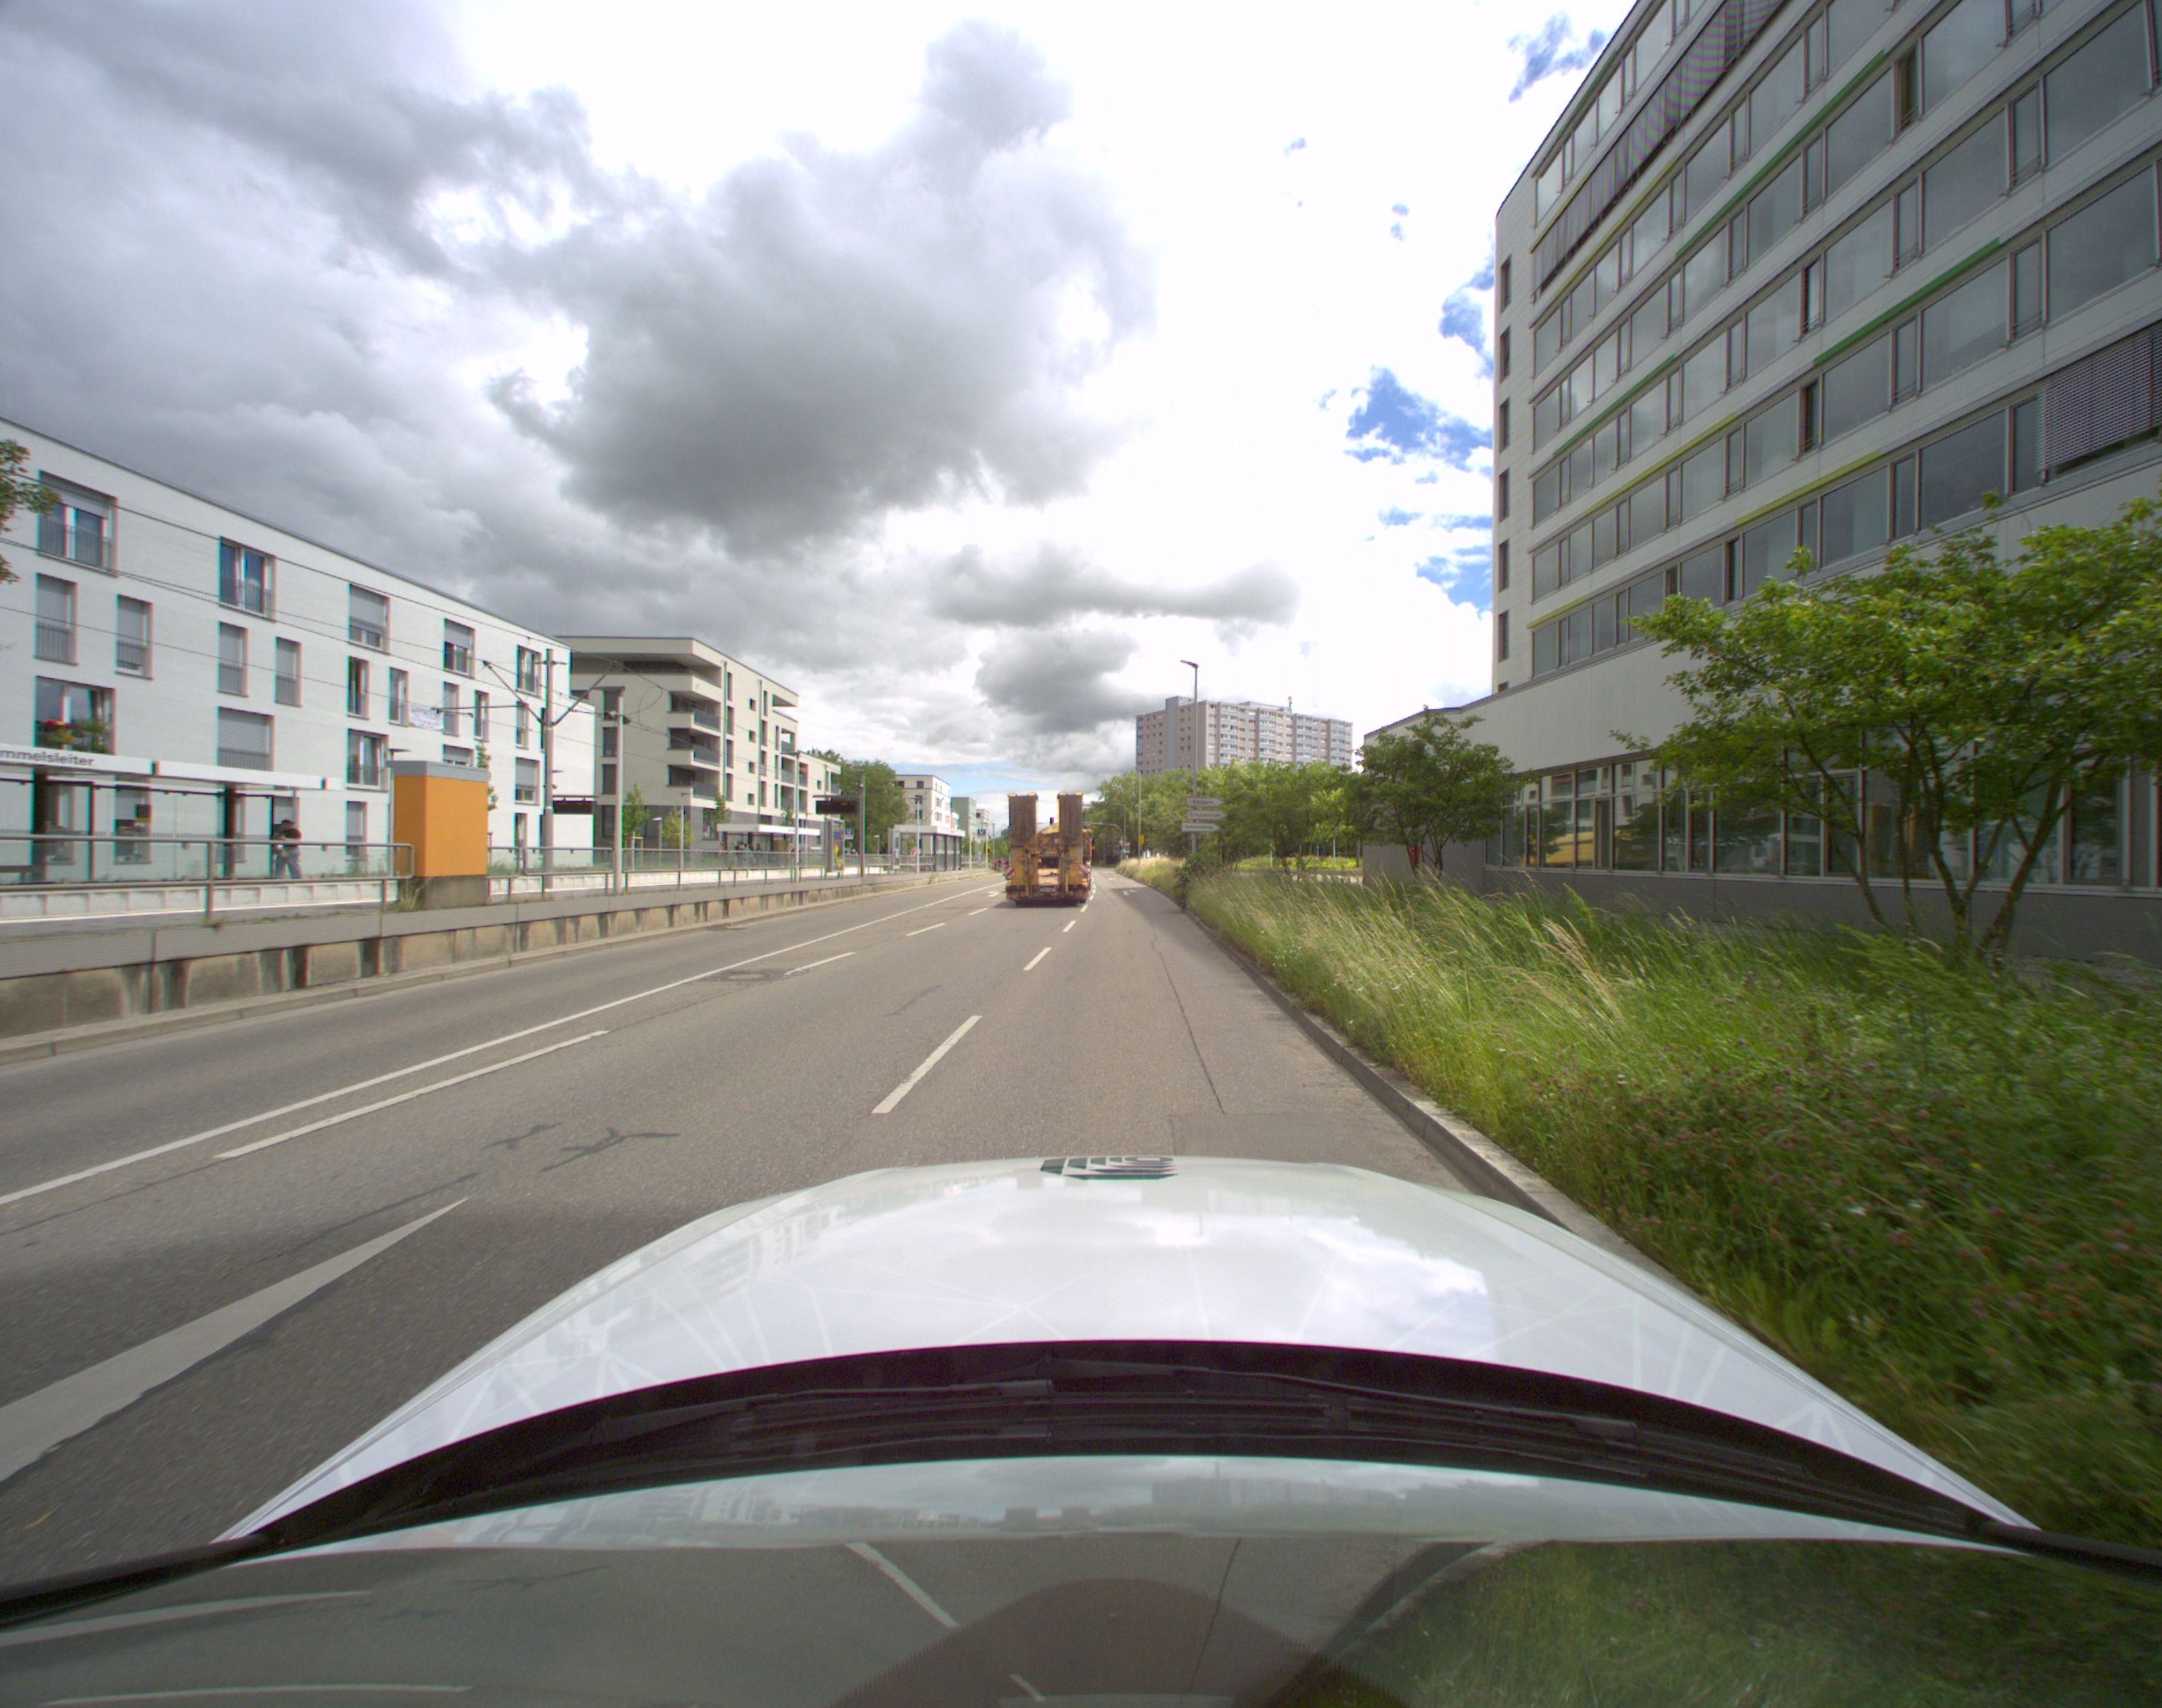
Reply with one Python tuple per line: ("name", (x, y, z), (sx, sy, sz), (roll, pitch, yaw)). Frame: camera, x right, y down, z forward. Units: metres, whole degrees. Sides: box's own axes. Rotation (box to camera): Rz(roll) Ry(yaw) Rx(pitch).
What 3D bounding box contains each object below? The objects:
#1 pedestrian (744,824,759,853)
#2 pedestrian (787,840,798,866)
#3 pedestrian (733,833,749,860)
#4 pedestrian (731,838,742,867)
("pedestrian", (-20.294, -0.932, 50.132), (0.482, 1.766, 0.682), (0, 0, 35))
("pedestrian", (-20.325, -0.076, 57.388), (0.559, 1.766, 0.678), (0, 0, 2))
("pedestrian", (-19.918, -0.422, 47.689), (0.483, 1.596, 0.682), (0, 0, 43))
("pedestrian", (-20.514, -0.074, 48.501), (0.491, 1.725, 0.670), (1, 0, -34))
